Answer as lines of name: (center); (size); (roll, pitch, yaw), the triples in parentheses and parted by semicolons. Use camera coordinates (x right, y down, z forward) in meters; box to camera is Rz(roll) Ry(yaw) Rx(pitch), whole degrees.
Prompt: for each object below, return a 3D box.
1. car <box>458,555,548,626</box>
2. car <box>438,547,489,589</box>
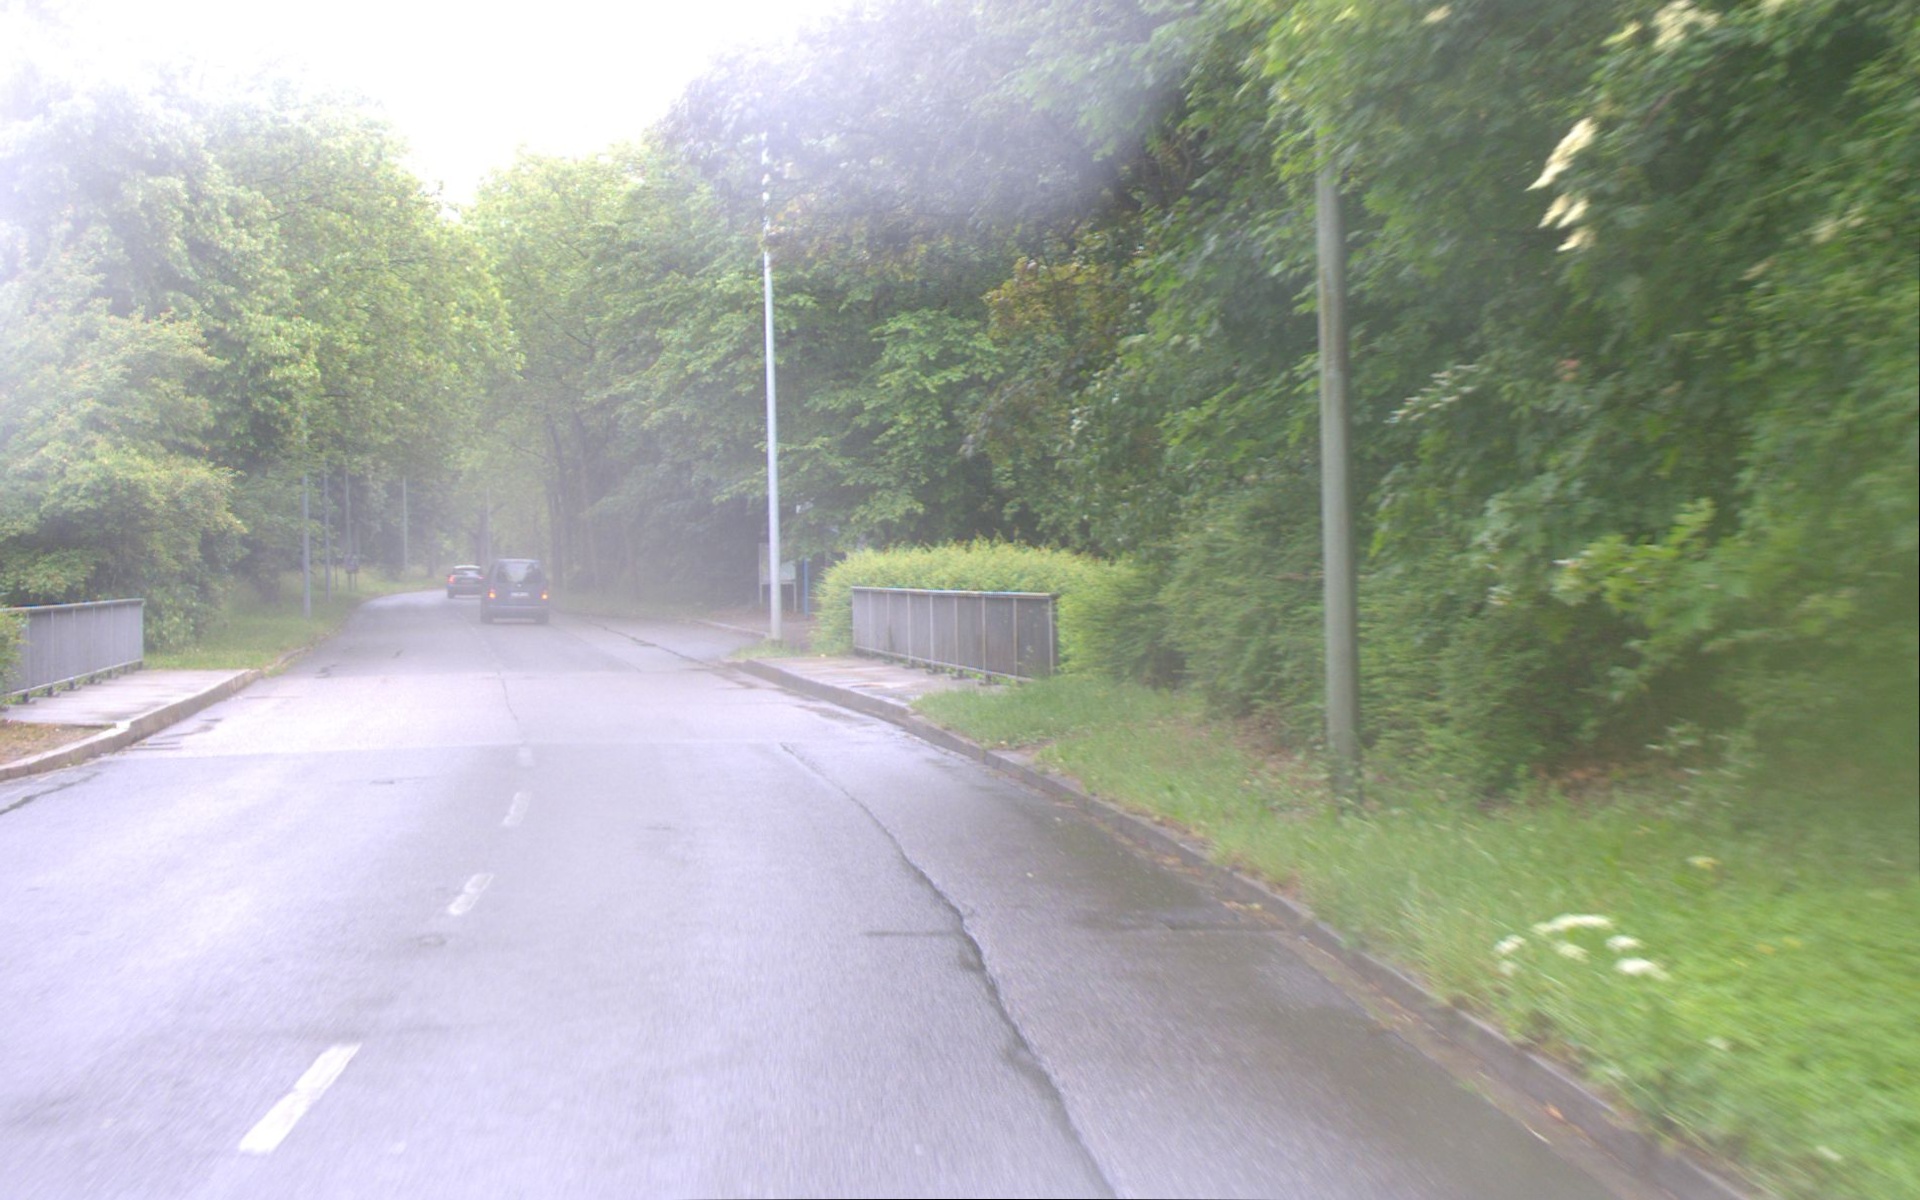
car: (-12.843, -0.294, 96.468); (1.985, 1.919, 4.001); (-1, 1, -15)
car: (-22.024, -1.409, 152.397); (1.993, 1.809, 4.001); (0, 0, -12)
